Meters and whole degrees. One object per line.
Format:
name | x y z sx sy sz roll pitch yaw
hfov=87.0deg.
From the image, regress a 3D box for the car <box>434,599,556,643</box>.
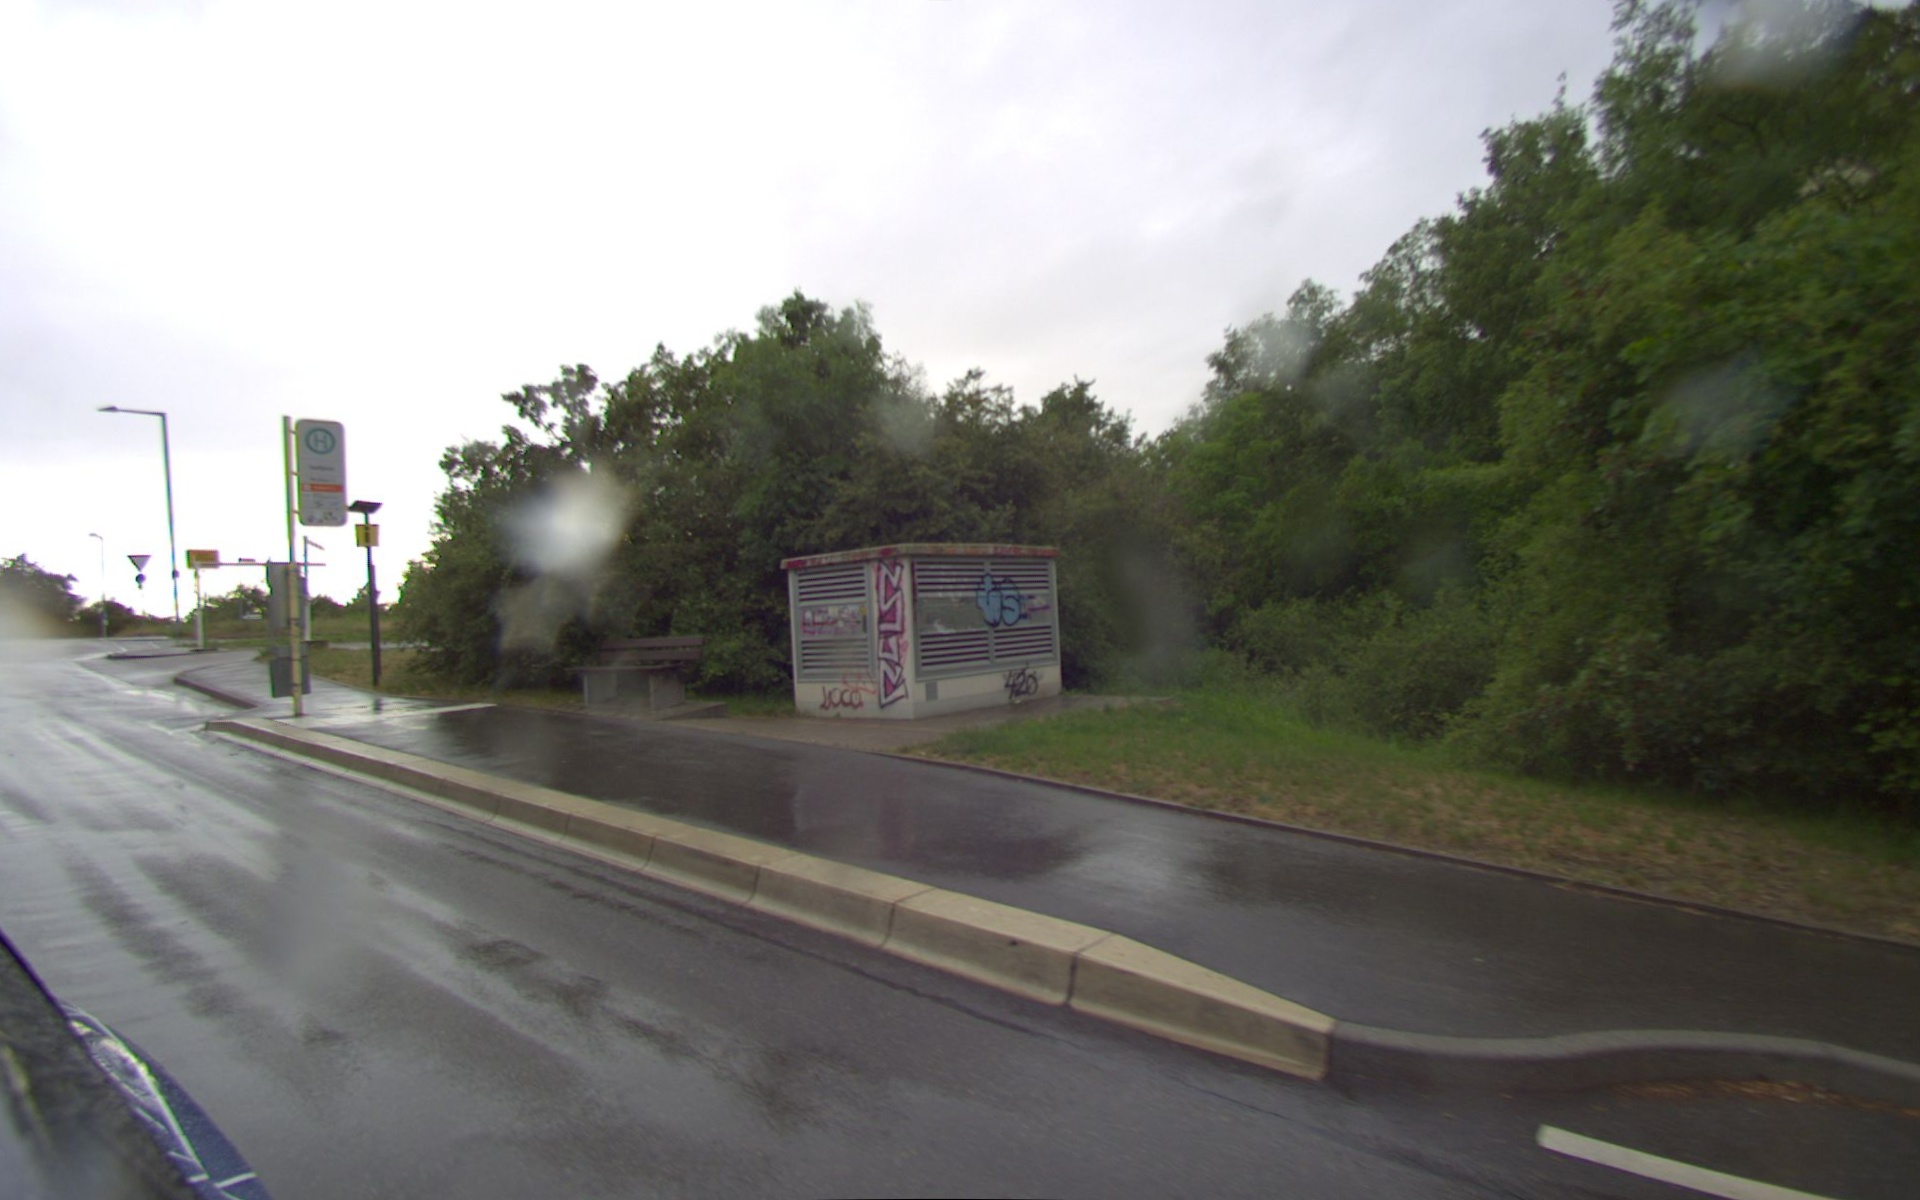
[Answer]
car | -16.450 0.748 35.706 4.419 1.425 1.976 -2 -1 36
